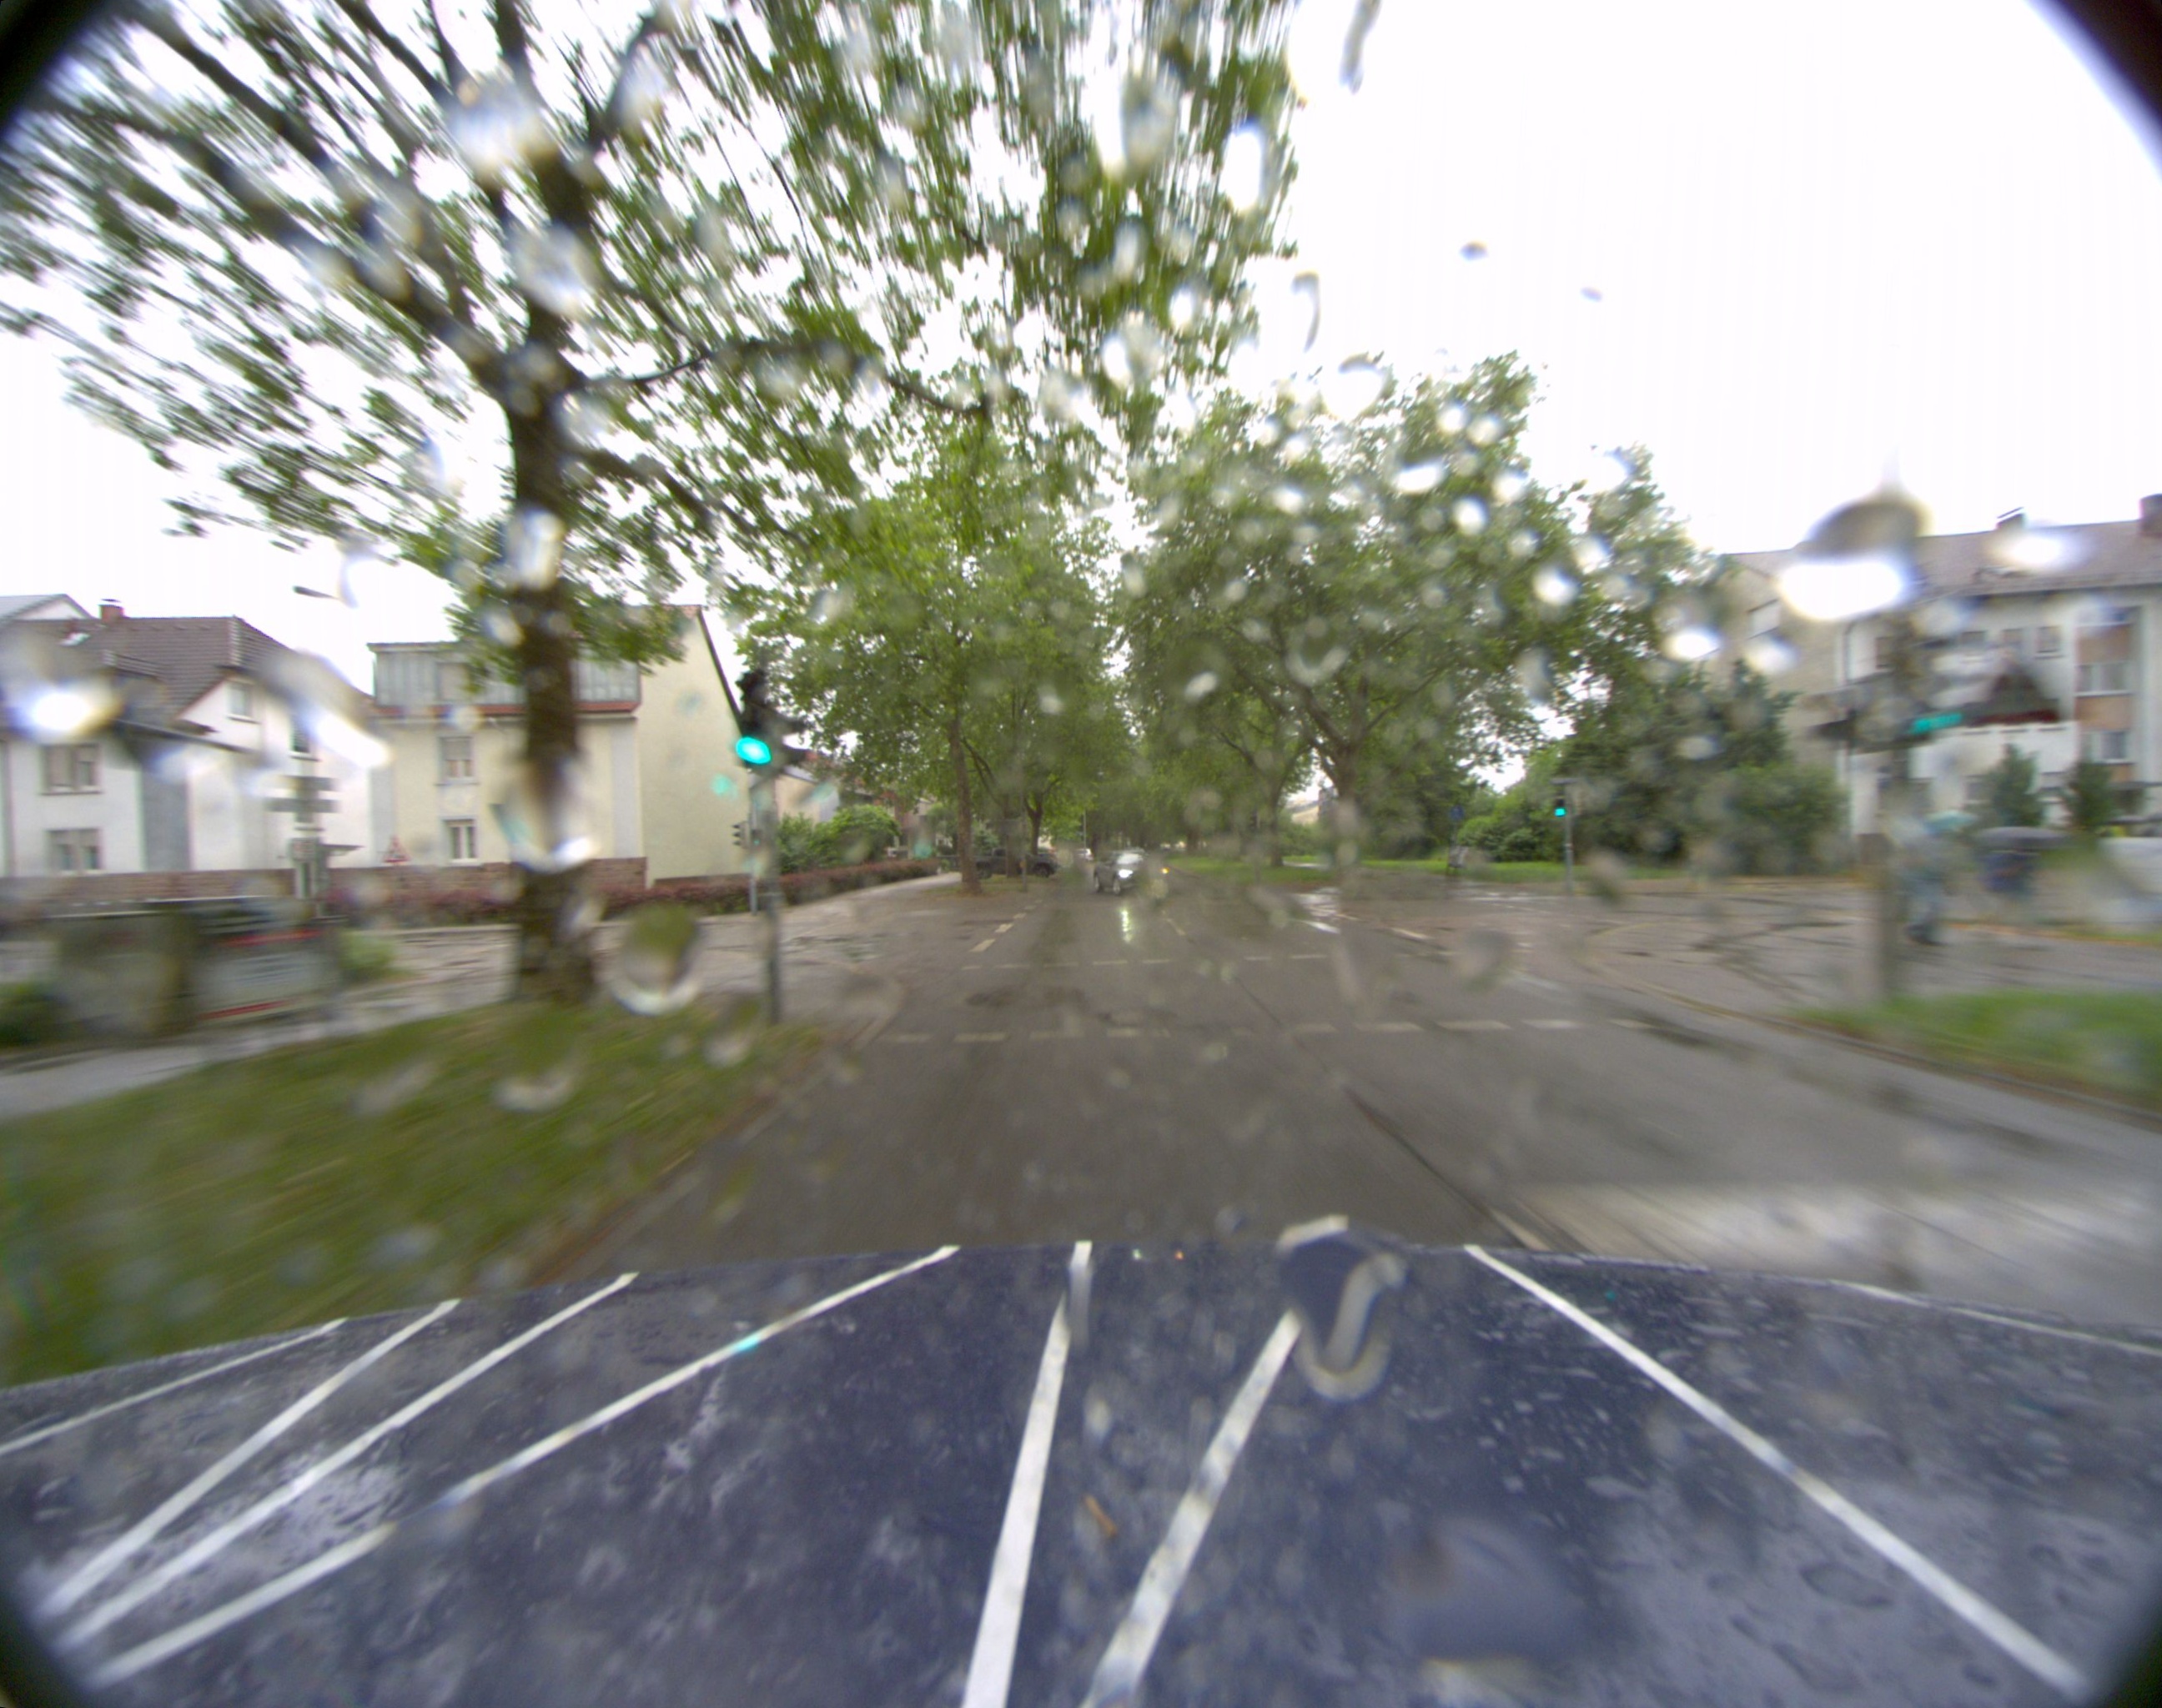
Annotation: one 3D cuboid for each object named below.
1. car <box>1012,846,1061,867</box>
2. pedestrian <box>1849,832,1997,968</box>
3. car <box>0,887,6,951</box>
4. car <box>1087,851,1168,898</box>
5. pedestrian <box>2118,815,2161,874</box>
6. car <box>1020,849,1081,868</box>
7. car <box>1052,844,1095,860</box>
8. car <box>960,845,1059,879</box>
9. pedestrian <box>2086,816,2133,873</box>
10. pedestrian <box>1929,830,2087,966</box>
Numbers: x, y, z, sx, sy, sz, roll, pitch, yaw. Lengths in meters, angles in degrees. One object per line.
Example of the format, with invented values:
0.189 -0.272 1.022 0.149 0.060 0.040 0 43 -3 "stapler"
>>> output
-3.258 0.156 55.884 3.363 1.455 1.619 -1 1 3 "car"
11.285 0.599 10.224 1.035 1.755 0.838 -1 1 5 "pedestrian"
-33.876 1.974 21.282 4.679 1.865 1.927 -2 1 0 "car"
1.628 0.693 28.474 1.864 1.608 4.418 -1 0 -12 "car"
31.858 -0.282 22.706 0.861 1.734 0.640 -2 1 2 "pedestrian"
-2.384 0.341 61.074 4.778 1.464 1.937 -1 1 0 "car"
-0.792 -0.251 85.159 4.699 1.651 1.976 -1 1 3 "car"
-3.941 0.427 42.605 5.353 1.796 1.844 -1 1 -2 "car"
32.173 -0.296 23.770 0.593 1.734 0.640 -2 1 2 "pedestrian"
12.451 0.569 10.248 1.035 1.755 0.879 -1 1 5 "pedestrian"
